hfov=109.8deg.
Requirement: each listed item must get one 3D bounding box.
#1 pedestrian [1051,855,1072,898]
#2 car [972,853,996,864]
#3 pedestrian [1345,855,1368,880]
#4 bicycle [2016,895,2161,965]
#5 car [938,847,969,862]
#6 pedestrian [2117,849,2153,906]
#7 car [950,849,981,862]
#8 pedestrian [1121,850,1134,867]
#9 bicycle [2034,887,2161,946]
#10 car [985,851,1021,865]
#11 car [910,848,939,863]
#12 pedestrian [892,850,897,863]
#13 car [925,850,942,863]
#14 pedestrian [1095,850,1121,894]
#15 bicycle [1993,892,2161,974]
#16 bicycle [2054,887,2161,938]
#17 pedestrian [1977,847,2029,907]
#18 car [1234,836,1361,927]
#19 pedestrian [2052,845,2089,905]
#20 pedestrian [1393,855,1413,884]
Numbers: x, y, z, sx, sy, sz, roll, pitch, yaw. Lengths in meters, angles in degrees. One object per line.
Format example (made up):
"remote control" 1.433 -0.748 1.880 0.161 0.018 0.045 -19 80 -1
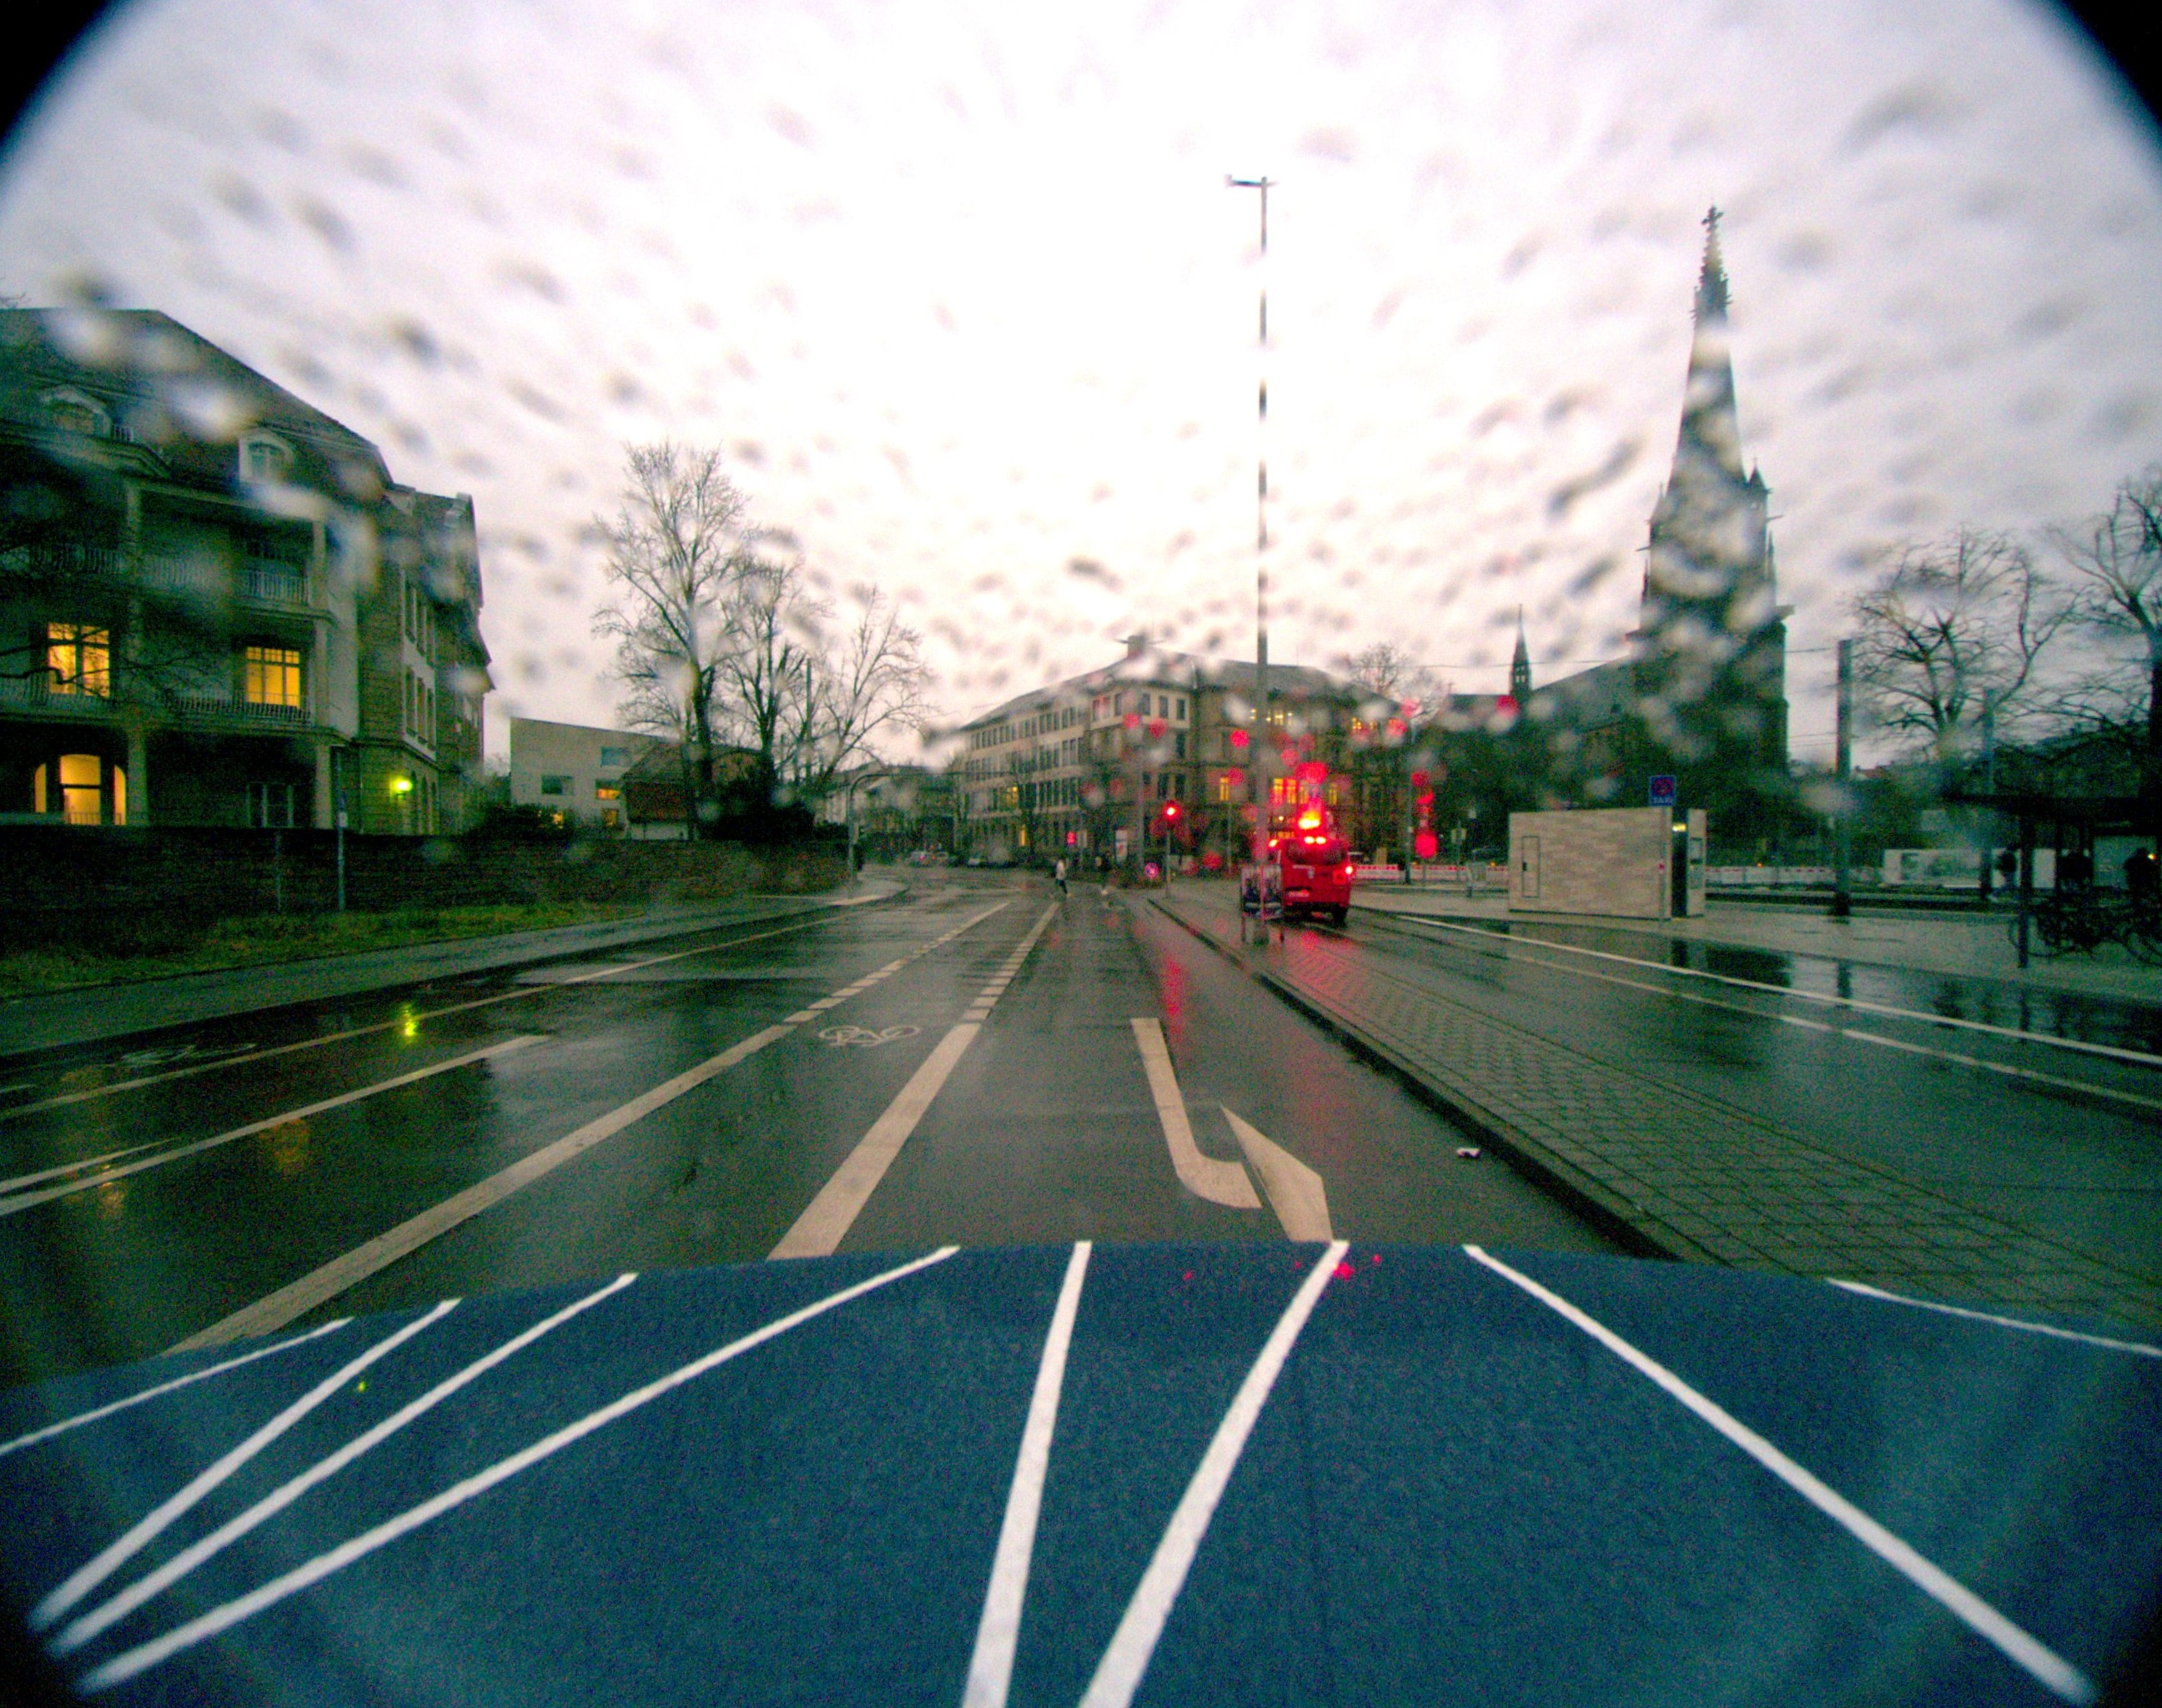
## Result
"pedestrian" -0.781 0.891 30.591 0.798 1.713 0.674 1 1 -5
"car" -12.140 0.574 95.308 1.706 1.298 3.647 -2 1 16
"pedestrian" 18.587 0.924 51.251 0.774 1.651 1.206 -3 1 -22
"bicycle" 16.616 1.214 12.217 0.475 0.980 1.921 -2 2 -30
"car" -17.001 0.074 101.471 2.043 1.889 4.007 -2 1 28
"pedestrian" 31.046 0.693 22.389 0.541 1.642 0.562 -3 2 -41
"car" -15.097 0.199 99.406 1.797 1.541 4.007 -2 1 28
"pedestrian" 4.685 0.430 76.425 0.829 1.714 0.926 0 0 -37
"bicycle" 19.690 1.170 14.429 0.475 0.980 1.921 -2 2 -30
"car" -9.285 0.480 90.536 1.797 1.541 4.007 -1 1 45
"car" -19.771 0.207 96.000 1.887 1.835 3.989 -3 1 -40
"pedestrian" -28.341 0.424 115.518 0.548 2.002 0.473 0 1 -33
"car" -20.742 0.370 106.846 2.000 1.660 3.997 -2 1 -7
"pedestrian" 1.181 0.761 33.083 1.000 1.890 0.673 1 1 -11
"bicycle" 15.497 1.181 11.613 0.475 1.064 1.921 -2 2 -30
"bicycle" 20.846 1.162 15.019 0.475 0.905 1.921 -2 2 -30
"pedestrian" 28.544 0.705 23.535 0.670 1.785 0.826 -3 1 -16
"car" 5.486 0.633 19.930 1.929 2.058 4.643 1 0 0
"pedestrian" 30.233 0.644 23.217 0.673 1.785 0.626 -3 2 -41
"pedestrian" 21.281 1.006 50.245 0.675 1.890 0.971 0 1 -39
